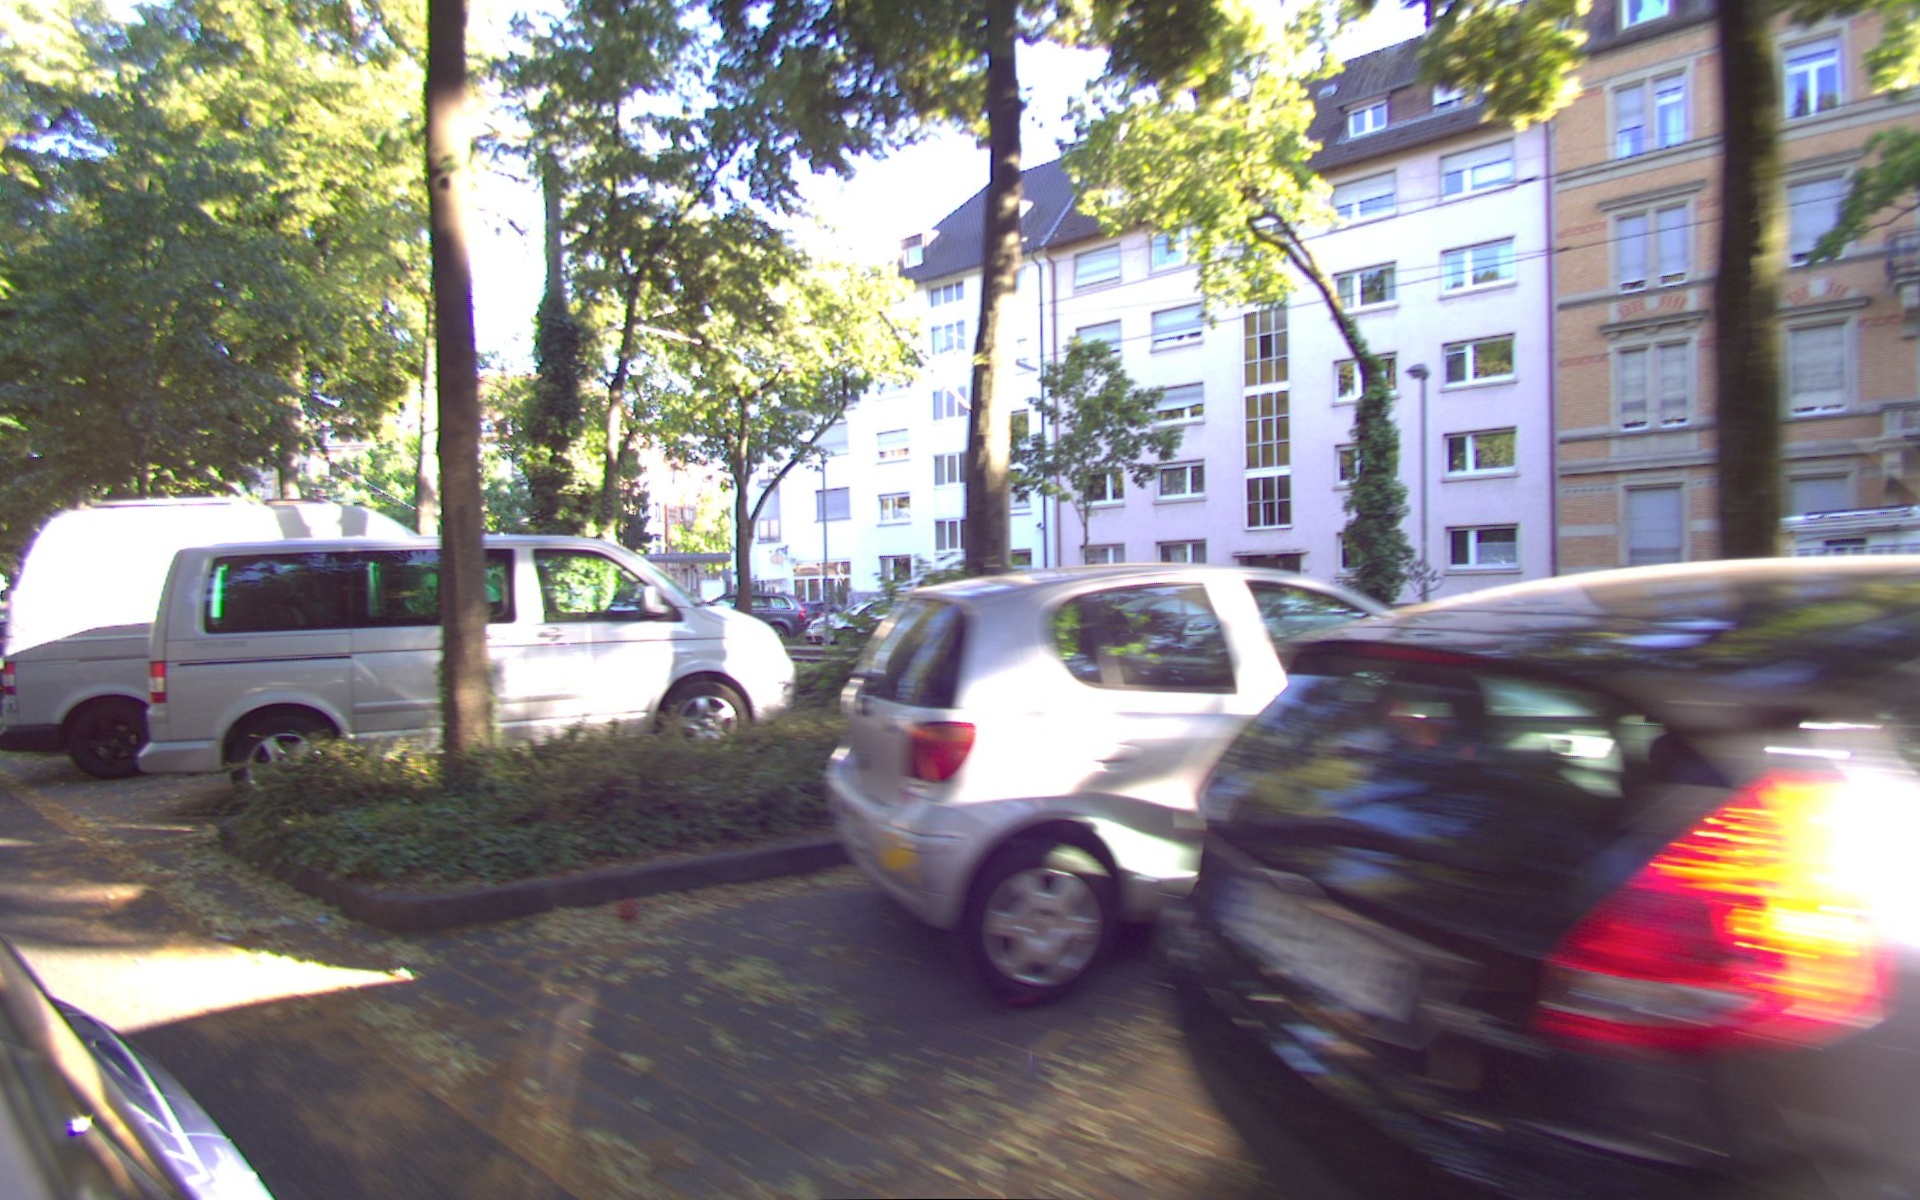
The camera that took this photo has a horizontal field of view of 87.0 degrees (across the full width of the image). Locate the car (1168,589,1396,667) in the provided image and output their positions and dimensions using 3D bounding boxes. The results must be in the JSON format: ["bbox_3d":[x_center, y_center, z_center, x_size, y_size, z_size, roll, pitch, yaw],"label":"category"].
[{"bbox_3d":[6.255,0.507,19.731,3.931,1.392,1.809,0,-1,-20],"label":"car"}]

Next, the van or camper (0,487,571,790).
[{"bbox_3d":[-6.616,0.224,10.321,4.802,2.488,2.052,-4,2,-21],"label":"van or camper"}]

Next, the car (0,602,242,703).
[{"bbox_3d":[-15.622,0.927,18.098,4.171,1.451,1.863,-4,3,-23],"label":"car"}]

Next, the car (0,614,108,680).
[{"bbox_3d":[-23.046,1.188,23.793,4.240,1.414,1.750,-4,2,-26],"label":"car"}]

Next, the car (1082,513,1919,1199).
[{"bbox_3d":[2.399,0.528,2.190,3.761,1.449,1.831,-4,2,-14],"label":"car"}]

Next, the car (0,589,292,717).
[{"bbox_3d":[-13.402,0.792,16.411,3.971,1.674,1.863,-4,3,-26],"label":"car"}]

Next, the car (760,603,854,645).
[{"bbox_3d":[-6.157,0.981,40.605,3.506,1.502,1.832,-2,2,40],"label":"car"}]

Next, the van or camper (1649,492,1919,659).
[{"bbox_3d":[17.620,-0.460,20.791,5.511,3.132,2.053,-1,0,41],"label":"van or camper"}]

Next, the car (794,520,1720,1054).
[{"bbox_3d":[1.204,0.512,4.518,3.490,1.504,1.831,-4,2,-19],"label":"car"}]

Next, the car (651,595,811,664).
[{"bbox_3d":[-7.203,0.891,31.856,4.738,2.029,2.005,0,-1,-14],"label":"car"}]

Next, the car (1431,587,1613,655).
[{"bbox_3d":[13.520,0.510,24.410,3.506,1.414,1.832,-2,2,40],"label":"car"}]

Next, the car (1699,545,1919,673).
[{"bbox_3d":[12.875,0.112,14.084,4.251,1.594,1.912,0,-1,-15],"label":"car"}]

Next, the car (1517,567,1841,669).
[{"bbox_3d":[11.268,0.310,15.934,4.251,1.395,1.912,2,-2,-16],"label":"car"}]

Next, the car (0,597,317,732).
[{"bbox_3d":[-11.431,0.845,14.363,3.490,1.504,1.831,-4,2,-19],"label":"car"}]

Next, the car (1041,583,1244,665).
[{"bbox_3d":[3.930,0.494,21.929,3.932,1.660,1.743,0,-1,-17],"label":"car"}]

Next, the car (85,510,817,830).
[{"bbox_3d":[-3.831,0.378,8.495,4.803,1.992,2.052,-4,2,-19],"label":"car"}]

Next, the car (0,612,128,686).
[{"bbox_3d":[-21.004,1.140,21.767,4.389,1.414,1.863,-4,2,-23],"label":"car"}]

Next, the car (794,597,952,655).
[{"bbox_3d":[-2.389,0.670,27.709,3.931,1.438,1.778,-1,0,-24],"label":"car"}]

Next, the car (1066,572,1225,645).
[{"bbox_3d":[5.630,0.289,31.075,4.414,2.008,1.832,-2,2,40],"label":"car"}]

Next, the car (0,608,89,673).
[{"bbox_3d":[-24.844,1.091,25.554,3.932,1.523,1.966,-4,2,-29],"label":"car"}]
